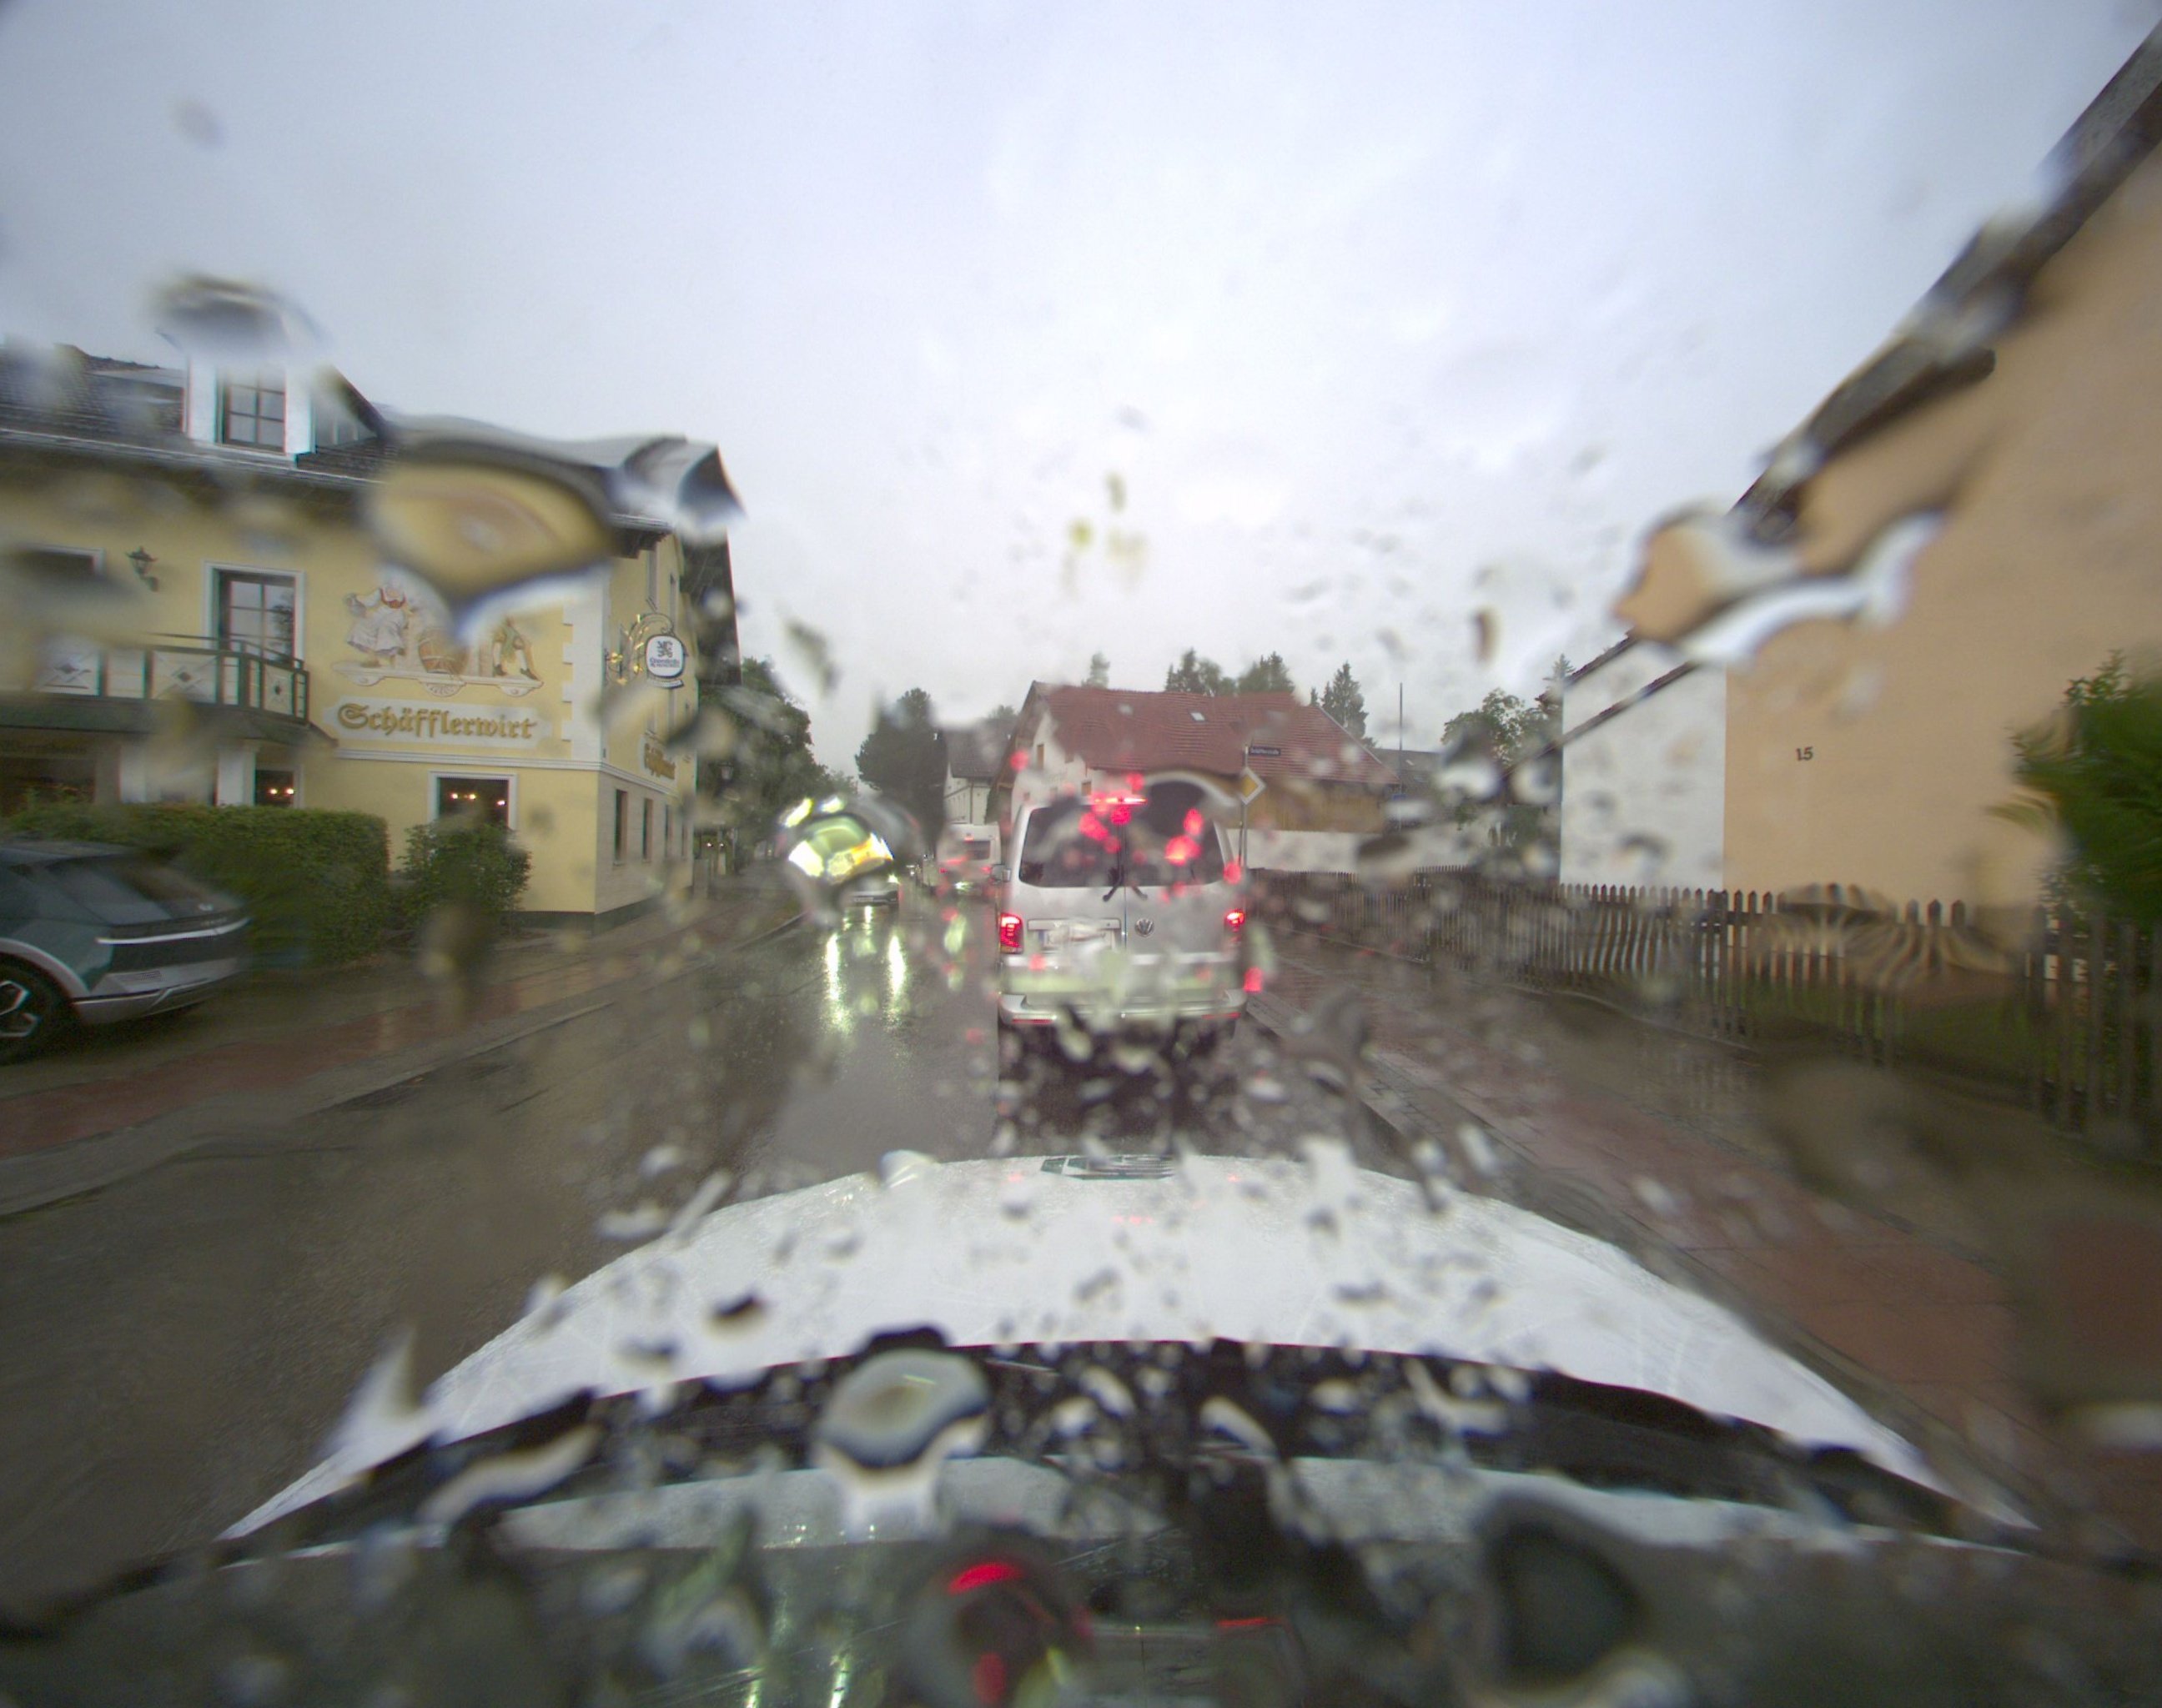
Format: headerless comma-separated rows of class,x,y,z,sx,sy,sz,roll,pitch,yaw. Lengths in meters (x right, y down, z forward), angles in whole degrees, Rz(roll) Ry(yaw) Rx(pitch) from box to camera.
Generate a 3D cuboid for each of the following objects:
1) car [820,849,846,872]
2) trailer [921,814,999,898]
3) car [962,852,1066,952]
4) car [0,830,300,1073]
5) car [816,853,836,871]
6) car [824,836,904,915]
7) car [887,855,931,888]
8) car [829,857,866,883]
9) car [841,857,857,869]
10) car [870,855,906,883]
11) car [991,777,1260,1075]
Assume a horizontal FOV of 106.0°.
car,-20.417,0.516,67.043,1.867,1.758,4.457,-3,1,-17
trailer,-4.794,0.089,31.323,2.275,2.904,6.100,0,0,-15
car,-1.407,0.804,16.149,1.707,1.584,4.674,-2,1,-7
car,-9.094,0.601,5.915,4.491,1.567,1.827,4,1,-21
car,-26.786,0.831,85.626,1.867,1.758,4.457,-3,1,-17
car,-6.034,0.565,23.099,1.852,1.971,4.683,-1,-1,-11
car,-11.100,1.076,52.314,2.175,1.899,4.983,1,0,-18
car,-13.565,0.874,47.143,1.867,1.359,4.455,-1,1,-18
car,-36.690,1.410,128.944,2.175,1.899,4.983,1,0,-18
car,-14.372,1.098,60.433,2.175,1.899,4.983,1,0,-18
car,0.355,0.490,7.979,1.770,1.963,5.075,-1,0,1
